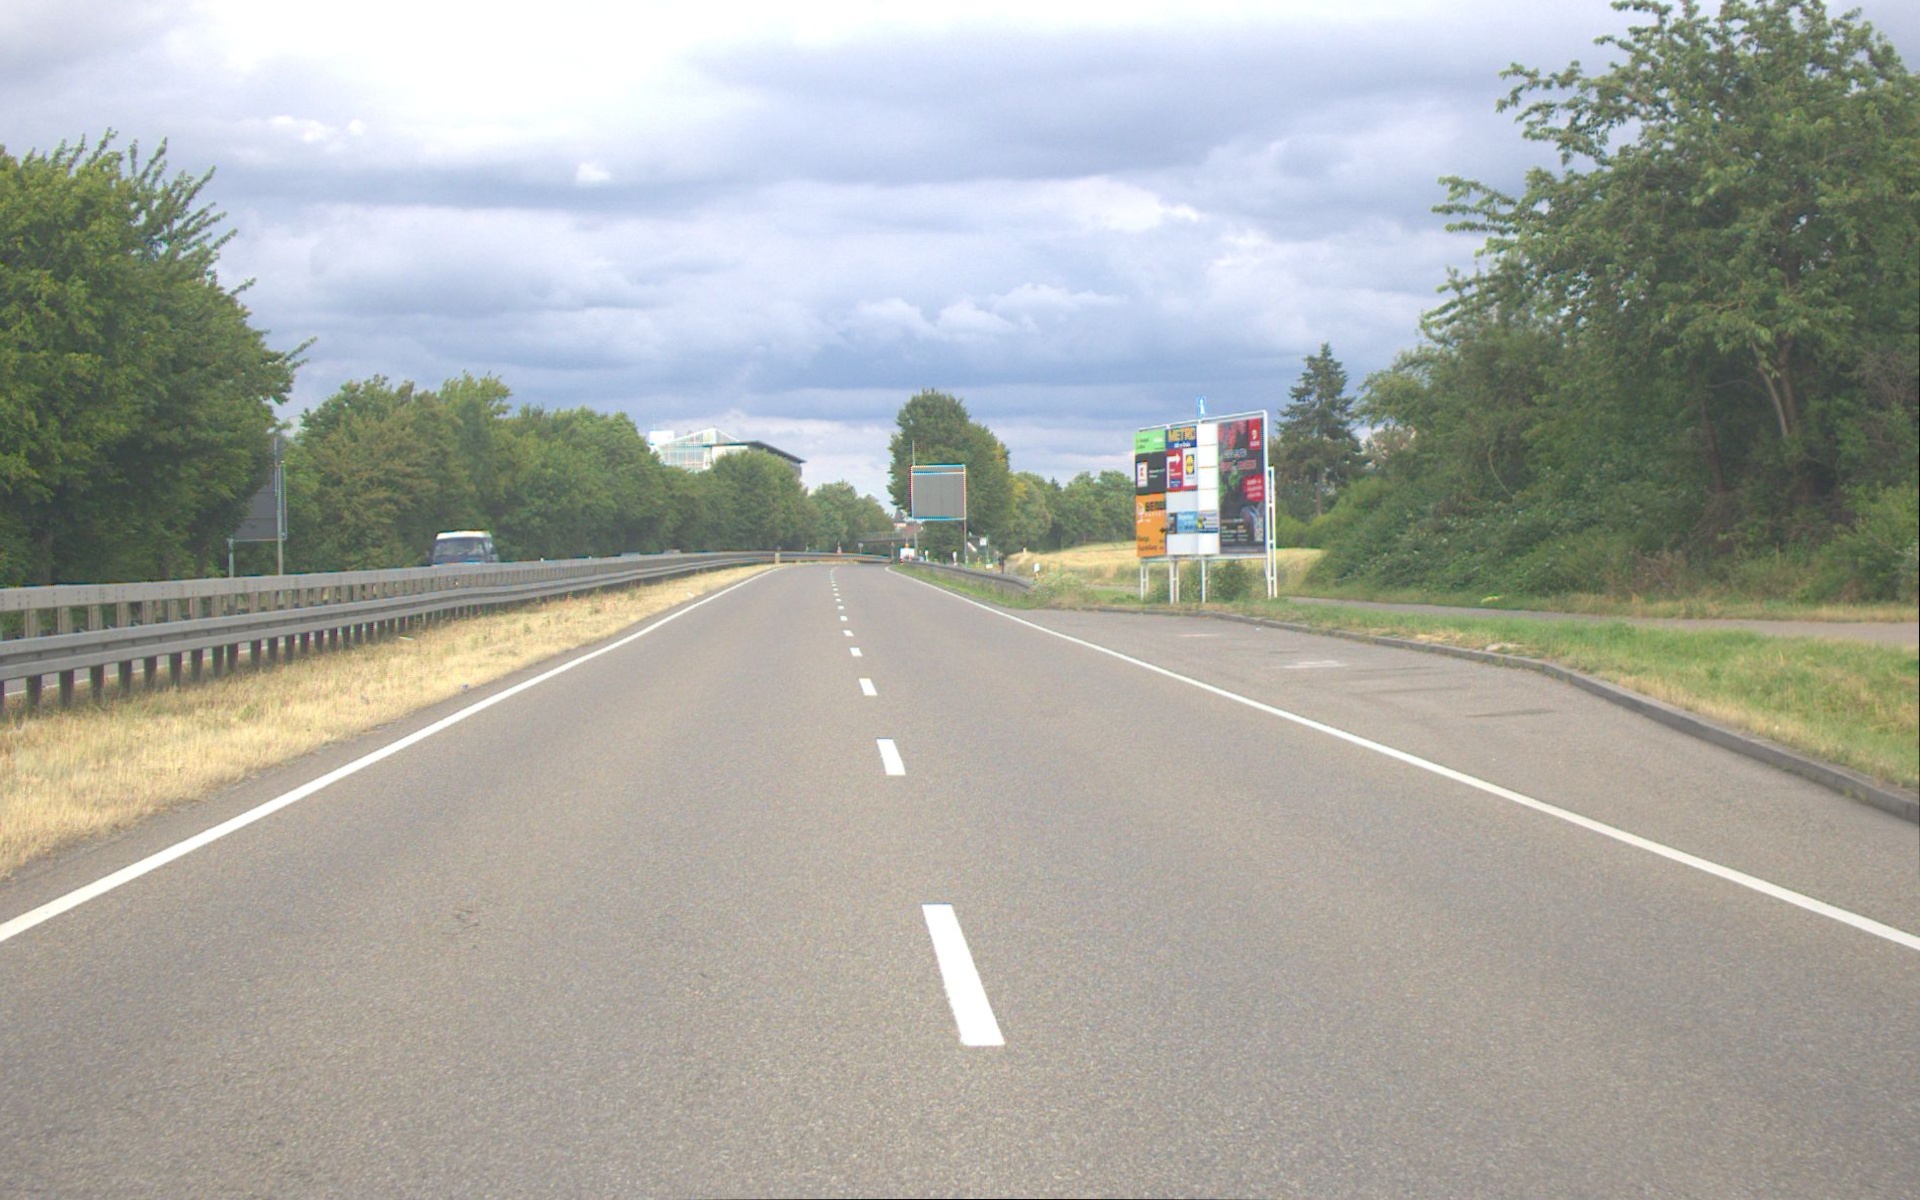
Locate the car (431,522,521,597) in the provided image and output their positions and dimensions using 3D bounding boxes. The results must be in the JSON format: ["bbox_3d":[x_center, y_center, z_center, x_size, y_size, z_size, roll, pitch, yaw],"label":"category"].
[{"bbox_3d":[-14.793,-1.256,105.294,1.993,2.133,5.319,-2,1,-1],"label":"car"}]
